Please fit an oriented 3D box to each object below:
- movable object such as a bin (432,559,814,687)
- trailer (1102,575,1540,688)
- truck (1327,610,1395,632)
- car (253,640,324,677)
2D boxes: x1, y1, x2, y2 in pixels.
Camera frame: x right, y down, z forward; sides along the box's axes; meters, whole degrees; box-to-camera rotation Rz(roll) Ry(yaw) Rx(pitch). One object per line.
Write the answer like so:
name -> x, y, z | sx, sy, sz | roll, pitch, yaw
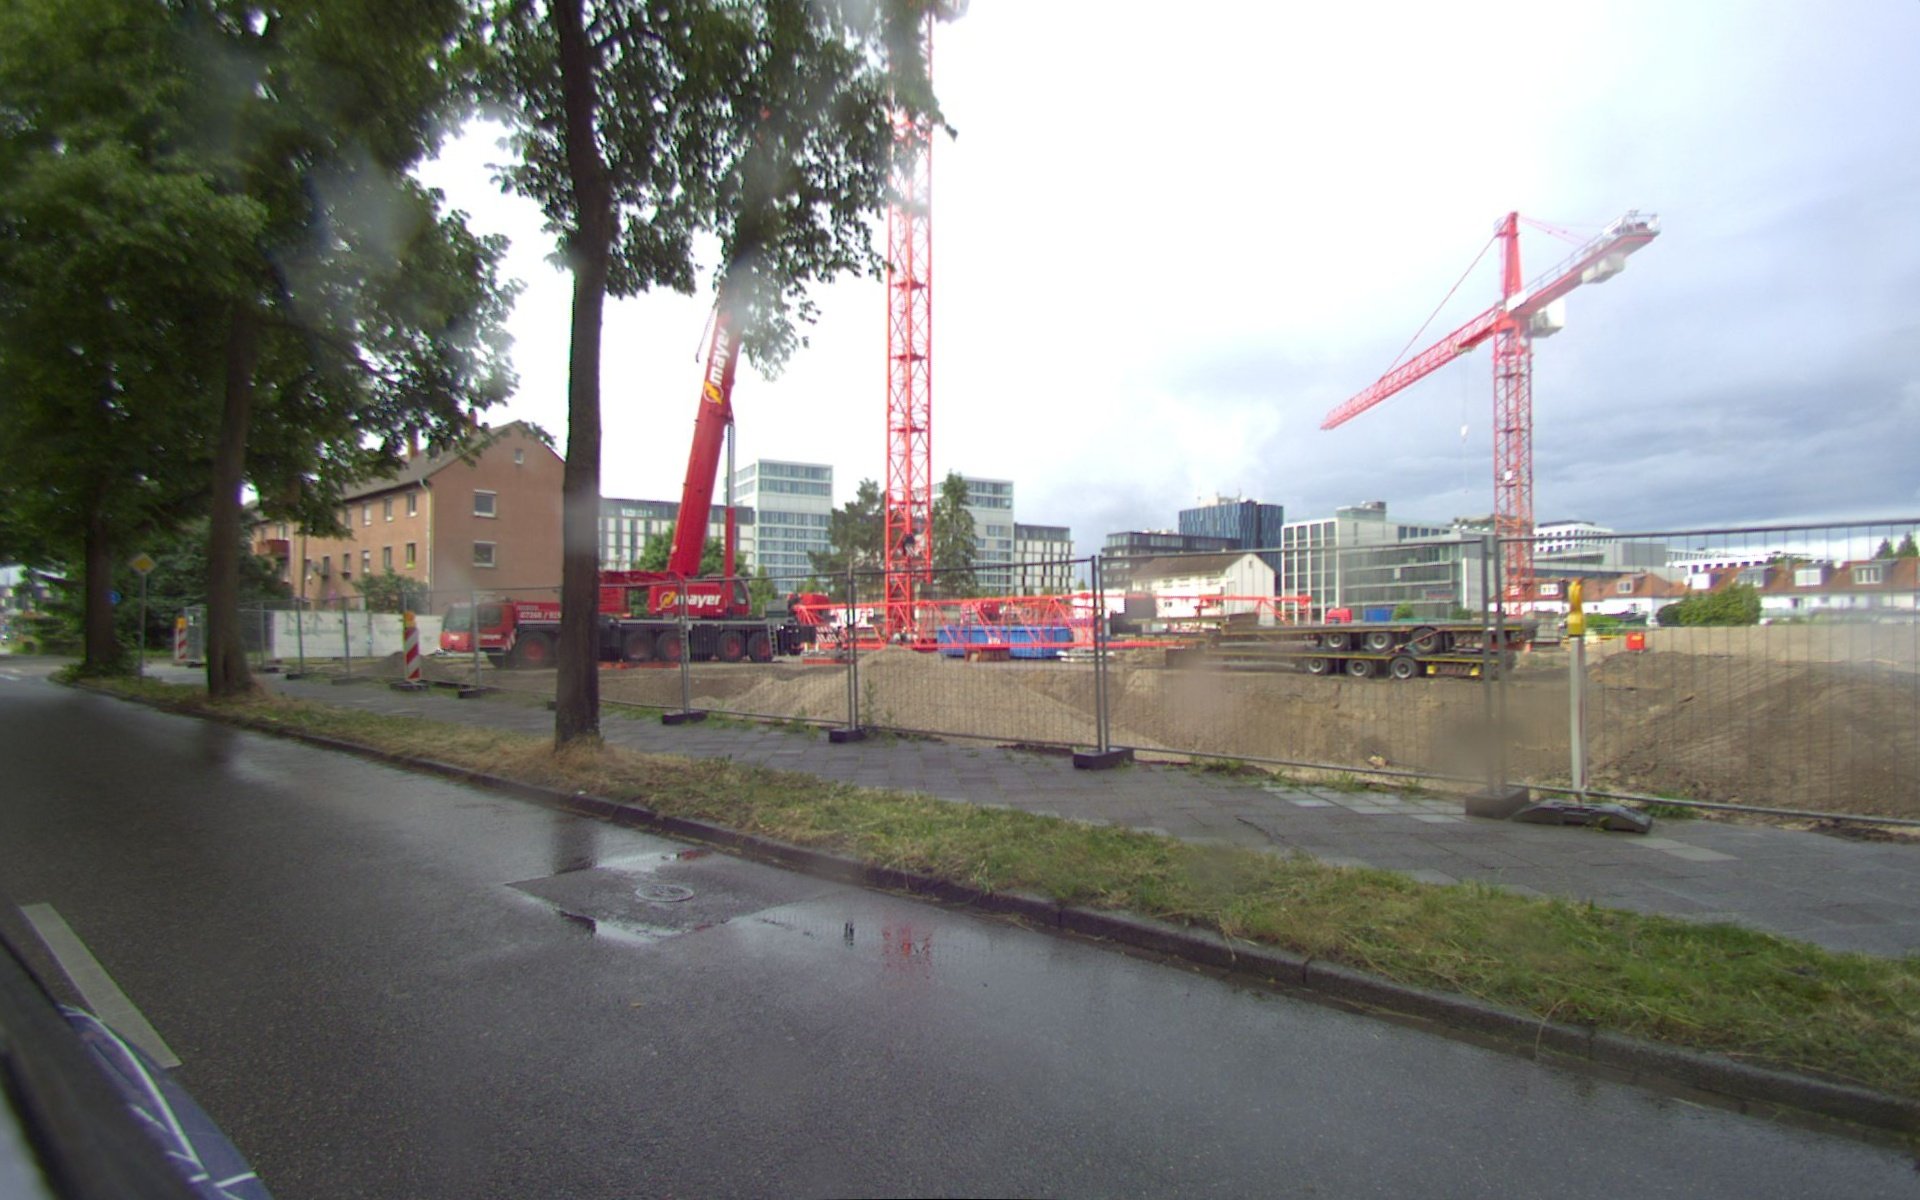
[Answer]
movable object such as a bin -> -13.436, 0.776, 42.914 | 3.102, 4.592, 15.728 | -1, 0, 44
trailer -> 11.865, 0.969, 35.391 | 14.301, 3.257, 2.930 | -1, 1, 41
truck -> 40.166, 2.089, 101.443 | 6.291, 2.095, 1.884 | -1, 0, 25
car -> -31.472, 2.706, 47.405 | 3.996, 1.541, 1.672 | -1, 0, 39
